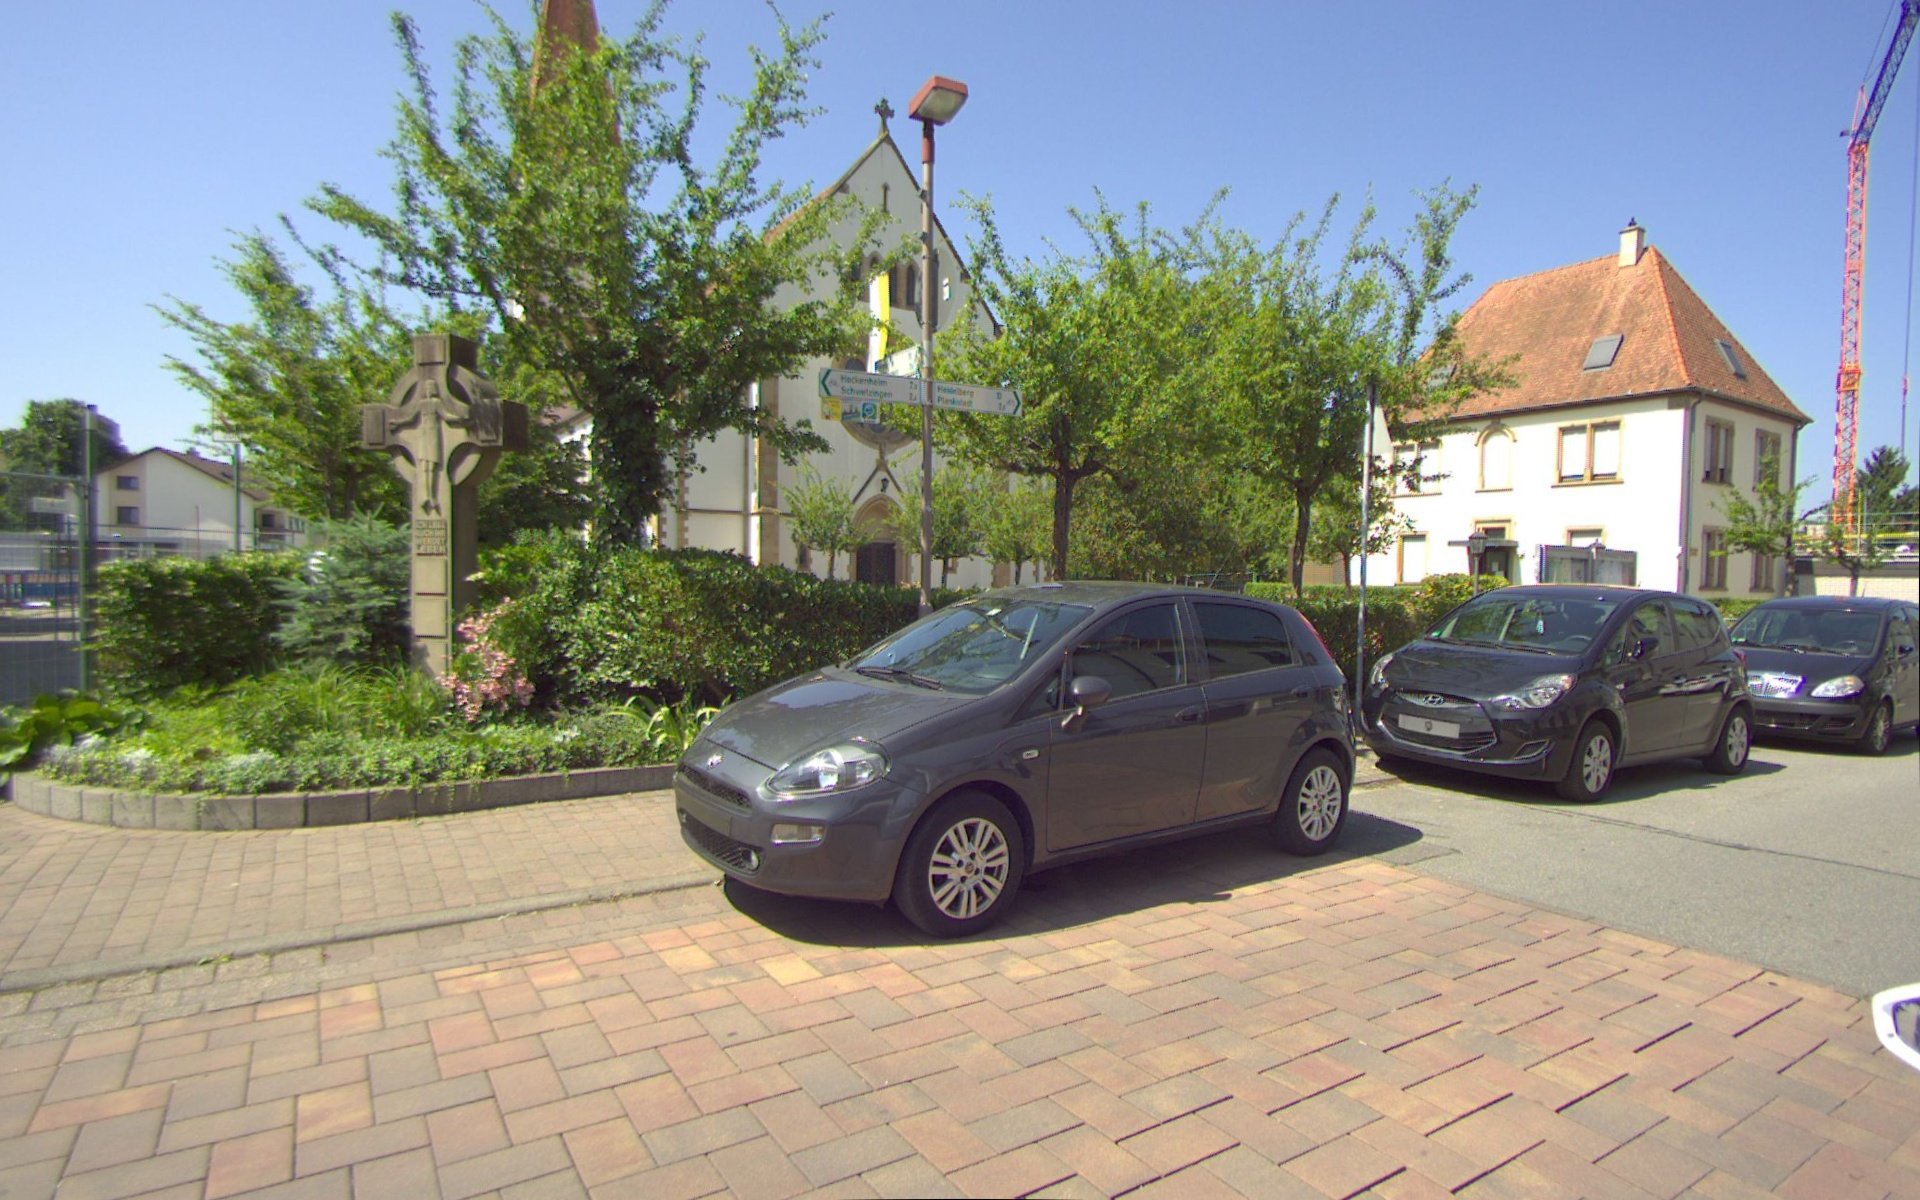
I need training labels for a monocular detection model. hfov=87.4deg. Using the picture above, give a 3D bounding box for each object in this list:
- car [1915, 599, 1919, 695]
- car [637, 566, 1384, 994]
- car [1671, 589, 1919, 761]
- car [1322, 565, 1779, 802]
[{"bbox_3d":[18.725,0.842,17.812,4.175,1.652,1.814,0,2,-36],"label":"car"},{"bbox_3d":[0.444,0.626,5.396,3.821,1.517,1.689,0,2,-37],"label":"car"},{"bbox_3d":[9.914,0.729,11.547,3.729,1.651,1.627,0,2,-35],"label":"car"},{"bbox_3d":[5.206,0.562,8.739,3.980,1.626,1.805,0,2,-33],"label":"car"}]
